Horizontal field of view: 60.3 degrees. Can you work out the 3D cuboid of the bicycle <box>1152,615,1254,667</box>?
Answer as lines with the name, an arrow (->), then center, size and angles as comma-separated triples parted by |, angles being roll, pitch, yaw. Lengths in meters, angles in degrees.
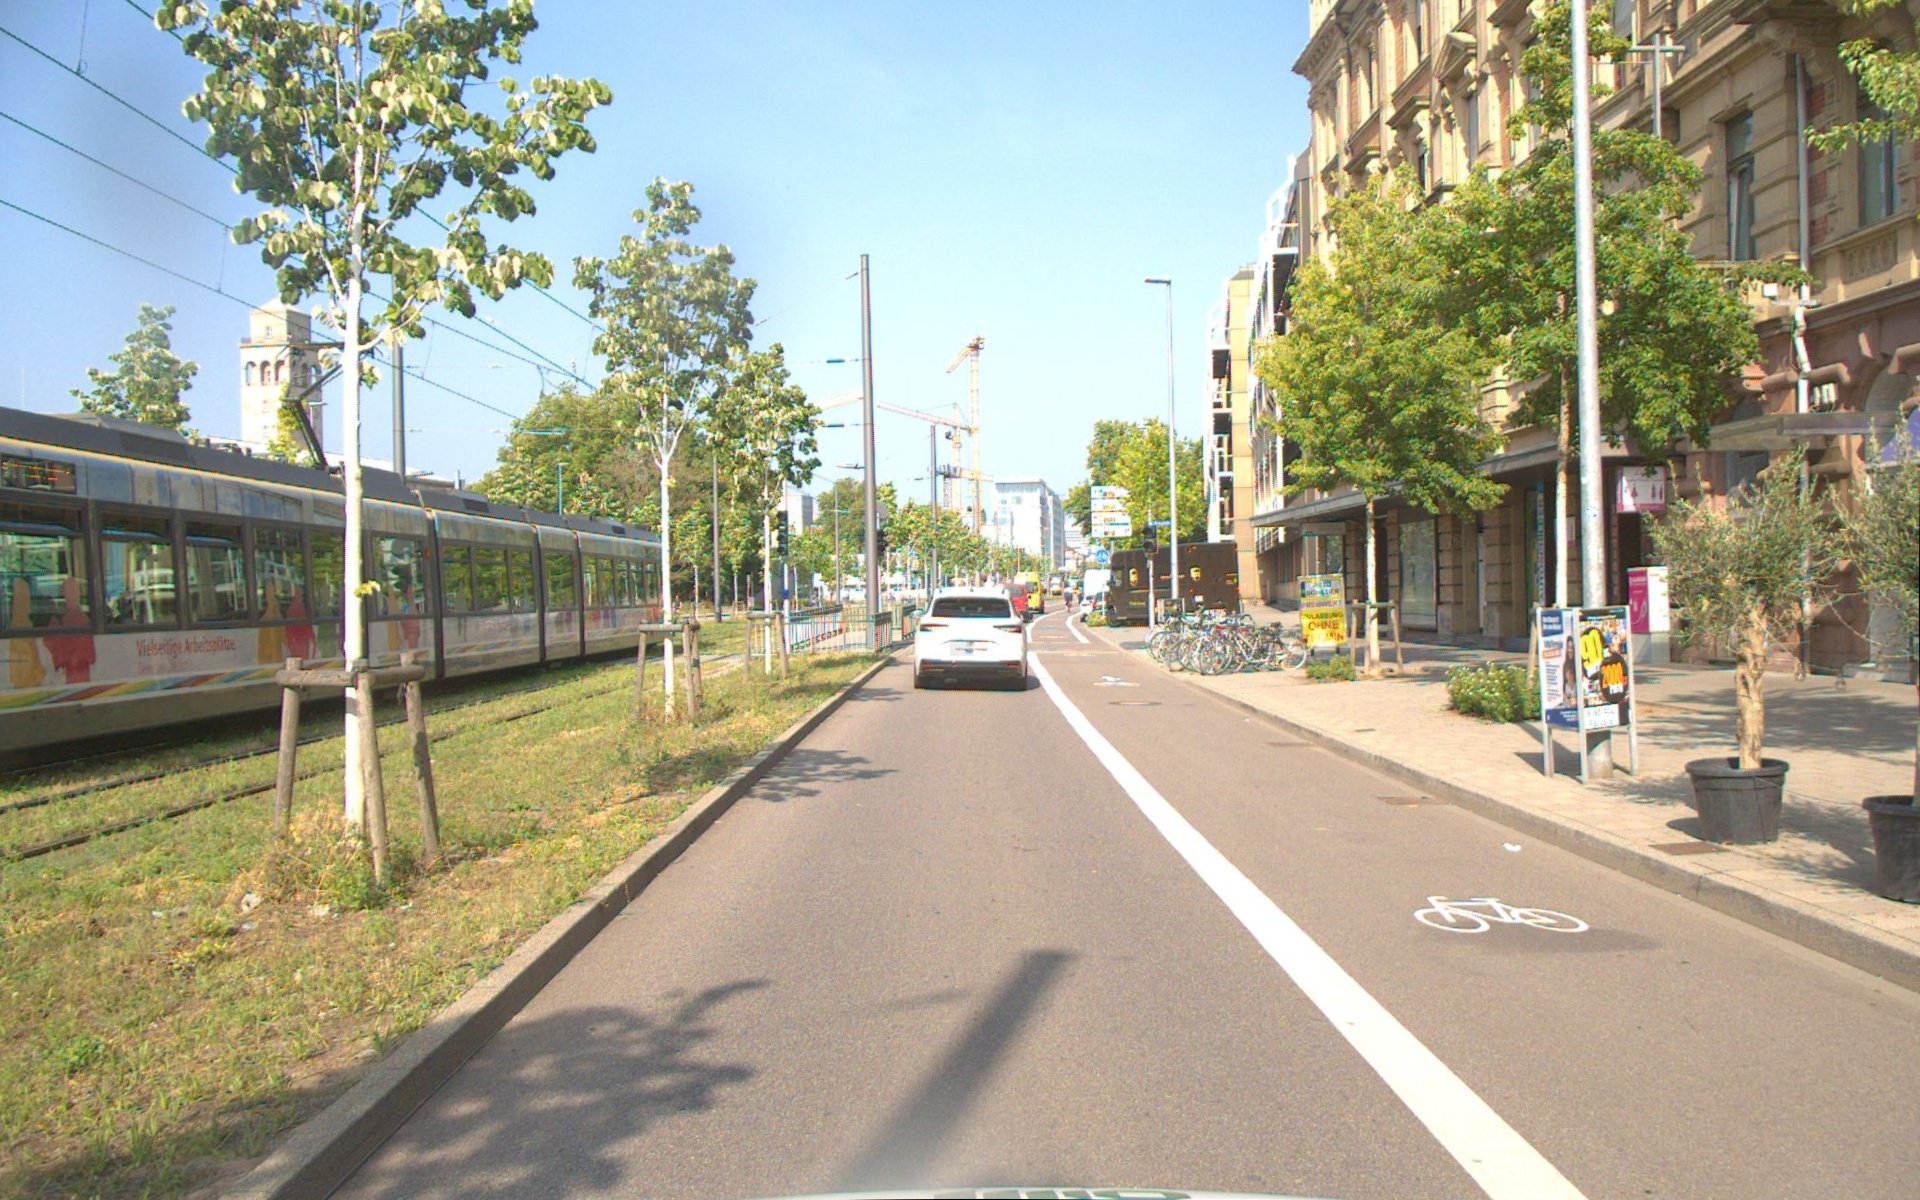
bicycle -> 4.779, 0.805, 32.580 | 1.895, 0.889, 0.440 | -3, 0, 0

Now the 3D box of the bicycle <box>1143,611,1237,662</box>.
bicycle -> 4.814, 0.766, 34.681 | 1.894, 0.962, 0.441 | -3, 0, 3

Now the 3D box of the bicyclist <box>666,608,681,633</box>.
bicyclist -> -18.077, 1.279, 104.346 | 0.681, 1.542, 1.186 | -1, 0, 1

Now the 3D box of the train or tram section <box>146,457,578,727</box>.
train or tram section -> -9.744, -0.087, 29.268 | 2.839, 3.649, 12.933 | -1, 0, 0

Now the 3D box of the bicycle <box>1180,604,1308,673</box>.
bicycle -> 5.144, 0.692, 30.036 | 2.193, 1.123, 0.519 | -3, 0, 0

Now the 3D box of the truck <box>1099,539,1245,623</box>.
truck -> 8.085, -0.704, 63.914 | 2.476, 3.064, 6.911 | -1, 0, -23

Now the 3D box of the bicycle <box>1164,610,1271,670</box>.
bicycle -> 4.871, 0.753, 31.381 | 1.915, 1.003, 0.471 | -3, 0, 0

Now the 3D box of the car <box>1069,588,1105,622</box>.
car -> 6.047, 0.219, 78.461 | 1.615, 1.525, 3.529 | -1, 0, 6

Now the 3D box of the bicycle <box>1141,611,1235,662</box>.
bicycle -> 4.837, 0.769, 35.160 | 1.894, 0.962, 0.441 | -3, 0, 3

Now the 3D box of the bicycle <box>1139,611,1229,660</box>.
bicycle -> 4.928, 0.779, 36.452 | 1.894, 0.962, 0.429 | -3, 0, 3

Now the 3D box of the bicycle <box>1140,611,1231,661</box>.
bicycle -> 4.895, 0.776, 35.987 | 1.894, 0.962, 0.429 | -3, 0, 3

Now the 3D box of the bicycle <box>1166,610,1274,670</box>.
bicycle -> 4.854, 0.750, 30.900 | 1.895, 1.003, 0.471 | -3, 0, 0

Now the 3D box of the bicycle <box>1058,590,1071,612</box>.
bicycle -> 7.450, 0.052, 117.796 | 0.765, 1.522, 2.800 | -1, 0, 0

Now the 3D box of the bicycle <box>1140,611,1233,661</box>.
bicycle -> 4.858, 0.772, 35.544 | 1.894, 0.962, 0.429 | -3, 0, 3

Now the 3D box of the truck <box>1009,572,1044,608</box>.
truck -> 4.481, -0.674, 112.553 | 2.167, 2.358, 5.890 | -1, 0, 1

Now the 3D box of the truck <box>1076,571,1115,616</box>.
truck -> 7.865, -0.371, 96.529 | 1.952, 2.552, 4.000 | -1, 0, 1

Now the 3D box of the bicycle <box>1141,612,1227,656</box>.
bicycle -> 5.019, 0.768, 37.129 | 1.847, 0.878, 0.429 | -3, 0, 3

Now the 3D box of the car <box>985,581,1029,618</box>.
car -> 2.323, -0.045, 80.480 | 1.952, 1.713, 4.371 | -1, 0, 4

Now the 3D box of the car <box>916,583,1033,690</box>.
car -> 0.168, 0.555, 27.378 | 1.780, 1.617, 4.405 | 0, 0, -1

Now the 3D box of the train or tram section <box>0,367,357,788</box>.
train or tram section -> -9.751, -0.158, 16.559 | 2.839, 3.649, 12.476 | -1, 0, 0

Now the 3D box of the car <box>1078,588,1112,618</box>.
car -> 6.759, 0.139, 82.792 | 1.615, 1.409, 3.529 | -1, 0, 6

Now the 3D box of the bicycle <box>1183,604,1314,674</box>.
bicycle -> 5.131, 0.688, 29.481 | 2.193, 1.123, 0.588 | -3, 0, 0

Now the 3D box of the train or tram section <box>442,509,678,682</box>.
train or tram section -> -9.684, -0.077, 41.853 | 2.839, 3.649, 12.225 | -1, 0, 0

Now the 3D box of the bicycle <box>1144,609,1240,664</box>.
bicycle -> 4.793, 0.755, 34.234 | 1.894, 1.030, 0.441 | -3, 0, 3
